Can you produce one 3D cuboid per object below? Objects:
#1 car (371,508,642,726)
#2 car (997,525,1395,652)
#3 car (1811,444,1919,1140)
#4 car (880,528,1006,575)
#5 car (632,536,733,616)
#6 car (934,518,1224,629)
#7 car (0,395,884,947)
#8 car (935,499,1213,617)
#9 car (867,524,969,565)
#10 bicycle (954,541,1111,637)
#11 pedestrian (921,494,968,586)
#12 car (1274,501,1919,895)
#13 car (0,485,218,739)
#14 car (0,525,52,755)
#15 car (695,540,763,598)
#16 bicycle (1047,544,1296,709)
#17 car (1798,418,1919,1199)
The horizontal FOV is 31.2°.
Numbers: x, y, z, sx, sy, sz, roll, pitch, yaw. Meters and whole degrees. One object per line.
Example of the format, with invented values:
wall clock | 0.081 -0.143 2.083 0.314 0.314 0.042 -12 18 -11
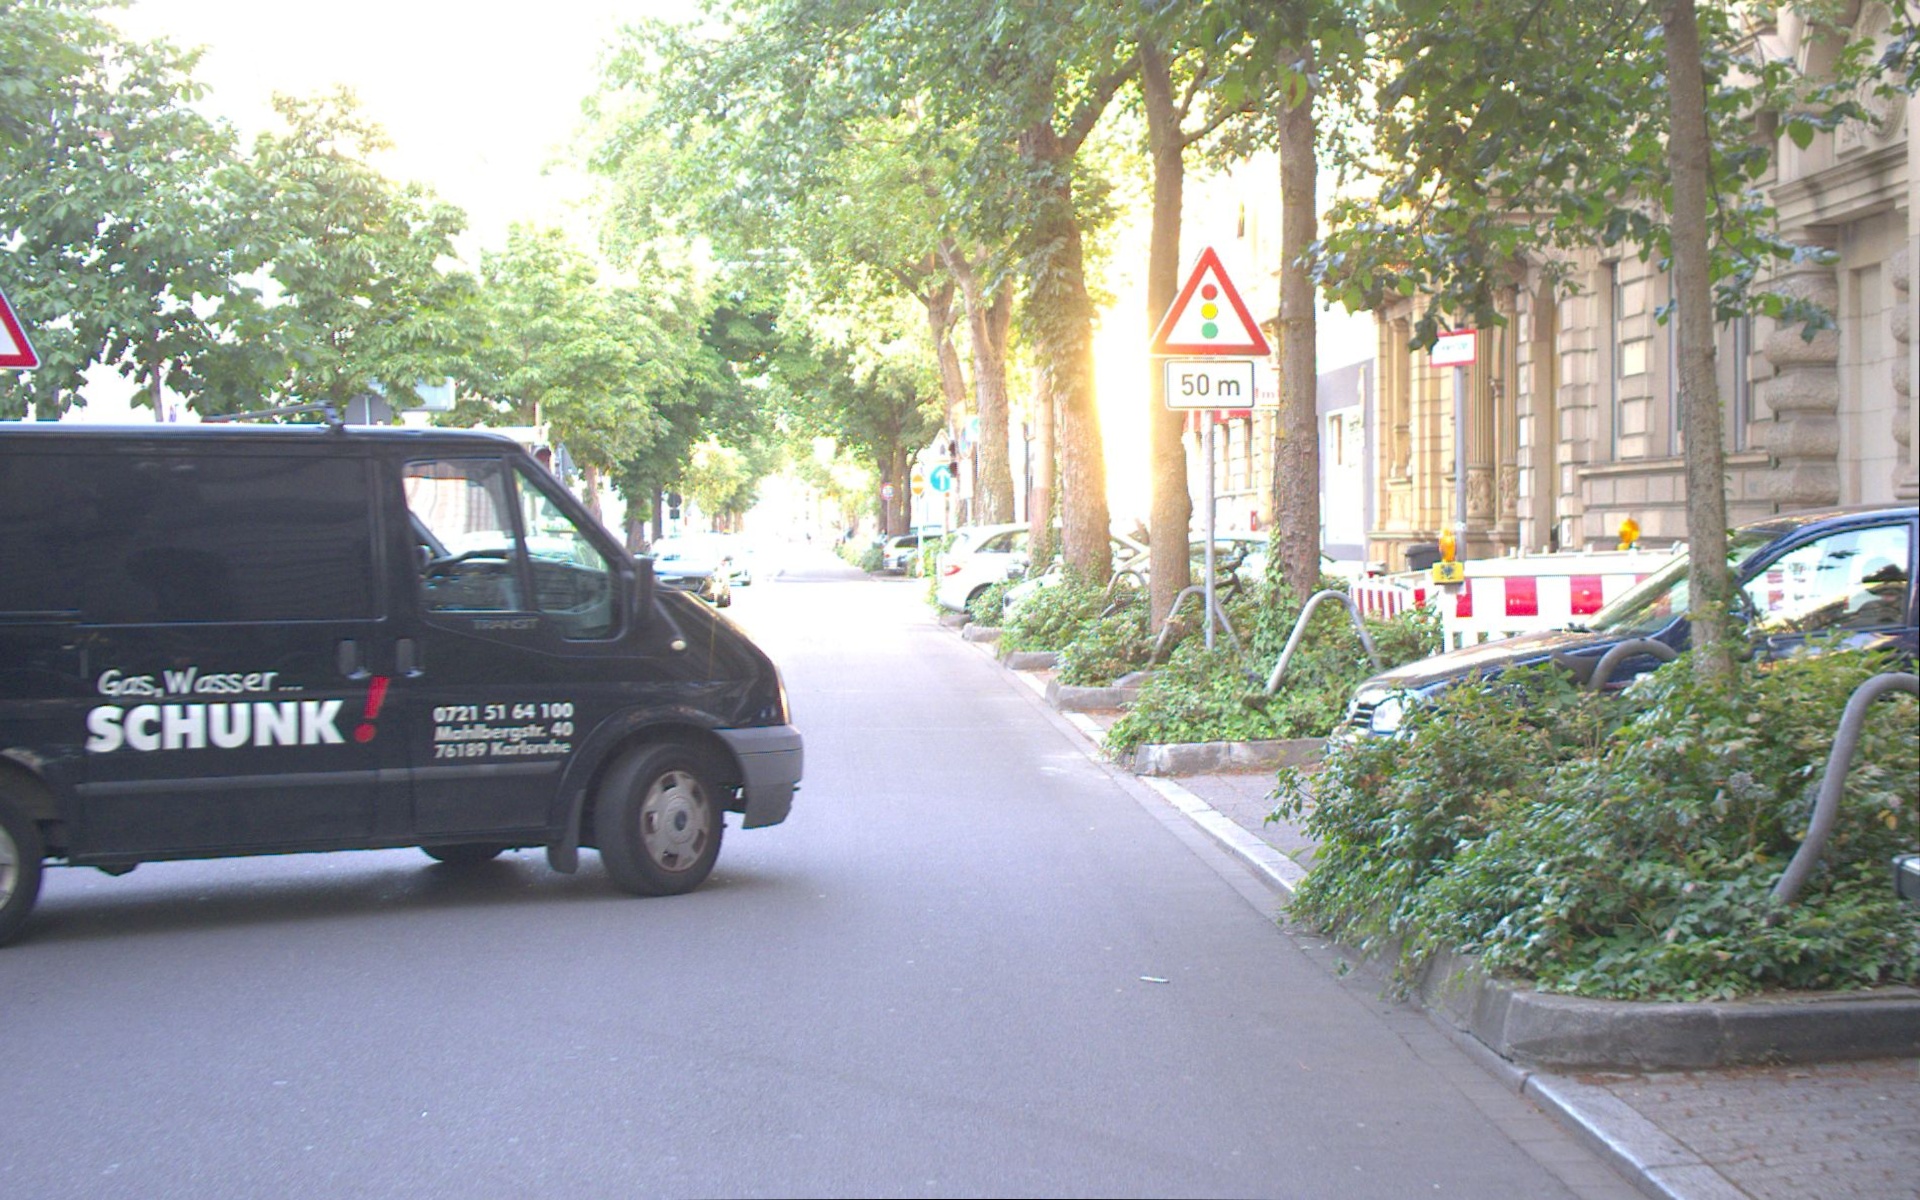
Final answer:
car | -3.669 0.076 28.531 1.876 1.635 4.647 -1 1 -3
car | 2.753 -0.154 40.926 4.583 1.432 1.925 0 1 0
car | 4.313 0.440 8.380 4.007 1.681 1.765 -1 2 -2
car | -0.601 -1.653 117.327 4.192 1.475 1.852 -2 1 -2
car | -5.666 -0.522 70.531 1.877 1.543 4.276 -1 1 -2
car | 1.751 -0.411 51.174 4.224 1.555 1.971 -1 2 1
car | -3.000 0.210 13.959 4.990 1.984 2.189 -1 2 -34
car | 1.913 -0.725 58.793 4.539 1.908 1.951 -1 1 -4
car | -1.687 -2.232 138.131 4.014 1.617 1.781 -1 1 -3
bicycle | 0.975 -0.155 46.443 2.019 1.200 0.488 -2 1 -14
pedestrian | -0.362 -1.413 80.845 1.043 2.139 1.063 1 0 -2
car | 3.621 0.341 14.948 4.223 1.476 1.855 -3 1 -2
car | -7.960 0.029 25.093 4.665 1.759 2.157 1 1 -3
car | -8.088 0.222 22.454 3.845 1.446 1.855 1 2 -2
car | -6.529 -0.897 97.328 1.876 1.543 4.276 -1 1 -3
bicycle | 1.805 0.222 29.426 2.046 1.356 0.508 1 1 -4
car | 3.931 0.481 5.889 4.439 1.712 1.968 -1 0 -2
